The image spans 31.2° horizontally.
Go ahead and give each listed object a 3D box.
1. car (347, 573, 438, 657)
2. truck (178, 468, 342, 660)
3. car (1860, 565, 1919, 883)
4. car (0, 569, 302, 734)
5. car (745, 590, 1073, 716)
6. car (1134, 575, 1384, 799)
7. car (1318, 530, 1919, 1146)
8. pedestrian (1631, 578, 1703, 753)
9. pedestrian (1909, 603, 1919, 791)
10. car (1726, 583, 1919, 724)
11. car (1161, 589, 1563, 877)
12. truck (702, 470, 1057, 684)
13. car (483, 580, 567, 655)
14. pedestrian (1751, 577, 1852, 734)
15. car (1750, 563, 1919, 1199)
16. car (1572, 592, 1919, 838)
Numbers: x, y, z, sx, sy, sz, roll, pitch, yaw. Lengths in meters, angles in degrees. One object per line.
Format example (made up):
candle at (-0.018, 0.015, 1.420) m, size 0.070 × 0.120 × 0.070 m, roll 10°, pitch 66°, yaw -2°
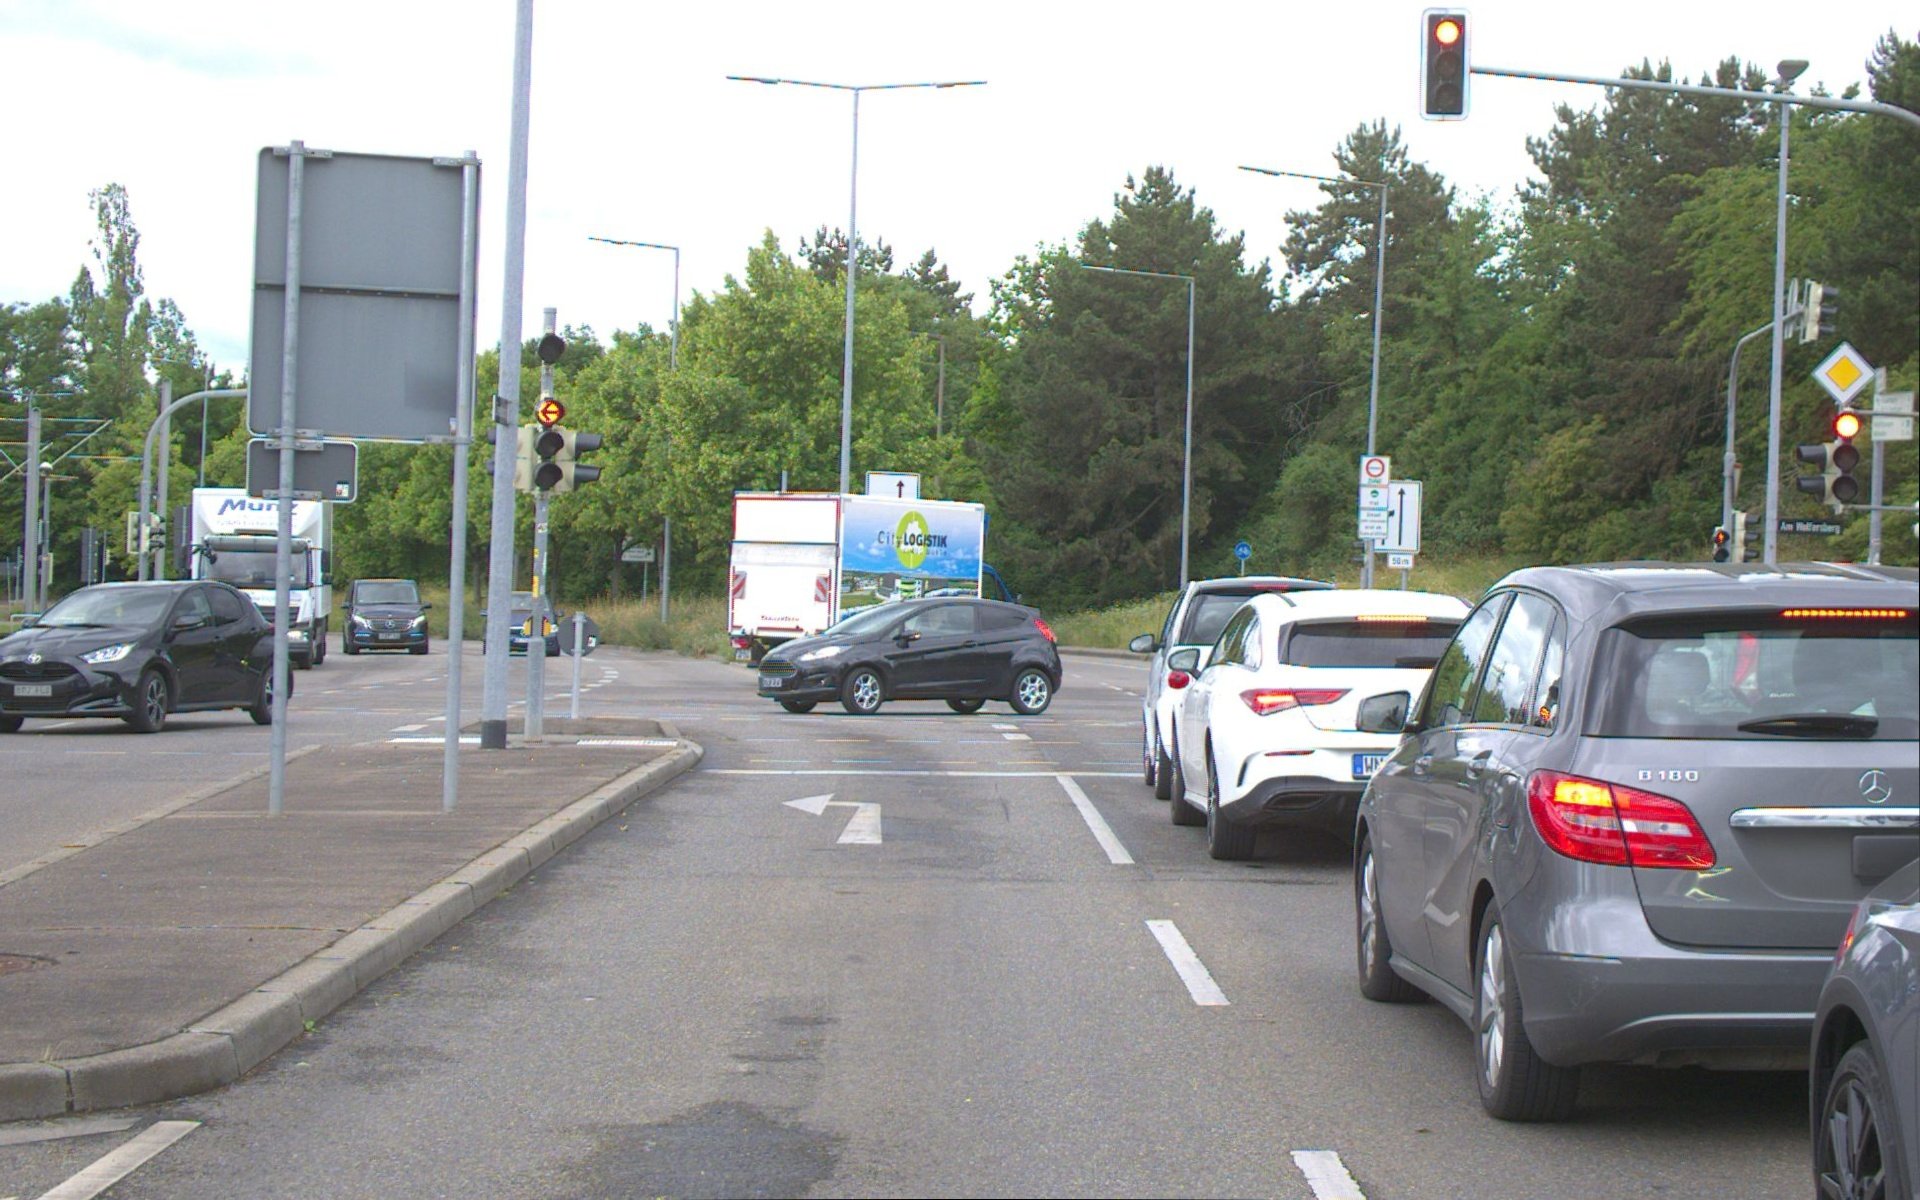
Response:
car at (-13.954, 0.345, 84.722) m, size 1.915 × 1.721 × 4.002 m, roll 0°, pitch 4°, yaw -5°
truck at (-14.327, -0.714, 70.937) m, size 2.659 × 3.637 × 9.504 m, roll 1°, pitch 0°, yaw -8°
car at (5.234, 0.572, 14.433) m, size 1.825 × 1.430 × 4.213 m, roll 1°, pitch 0°, yaw 1°
car at (-8.155, 0.459, 34.109) m, size 1.595 × 1.491 × 3.936 m, roll 1°, pitch 1°, yaw 16°
car at (-0.625, 0.630, 42.869) m, size 3.765 × 1.475 × 1.639 m, roll 0°, pitch 1°, yaw -31°
car at (2.092, 0.588, 24.601) m, size 1.535 × 1.499 × 2.670 m, roll 0°, pitch 0°, yaw 0°
car at (2.164, 0.551, 10.575) m, size 1.799 × 1.518 × 4.187 m, roll 0°, pitch 1°, yaw 2°
pedestrian at (6.671, 0.610, 32.458) m, size 0.611 × 1.628 × 0.614 m, roll 1°, pitch 0°, yaw 9°
pedestrian at (7.687, 0.752, 26.598) m, size 0.611 × 1.448 × 0.353 m, roll 1°, pitch 0°, yaw 9°
car at (13.166, 0.711, 46.114) m, size 5.419 × 1.809 × 2.000 m, roll 0°, pitch 1°, yaw 6°
car at (2.141, 0.658, 19.390) m, size 1.721 × 1.417 × 4.357 m, roll 0°, pitch 0°, yaw 0°
truck at (-1.333, -0.370, 62.031) m, size 2.688 × 3.586 × 7.249 m, roll 2°, pitch 0°, yaw 33°
car at (-10.607, 0.411, 83.665) m, size 1.915 × 1.570 × 4.002 m, roll 0°, pitch 3°, yaw -9°
pedestrian at (8.485, 0.552, 34.672) m, size 0.864 × 1.555 × 0.518 m, roll 1°, pitch 1°, yaw -2°
car at (2.393, 0.699, 4.842) m, size 1.698 × 1.481 × 4.000 m, roll 1°, pitch 1°, yaw 1°
car at (5.038, 0.658, 21.697) m, size 1.545 × 1.399 × 4.000 m, roll 0°, pitch 0°, yaw -1°
